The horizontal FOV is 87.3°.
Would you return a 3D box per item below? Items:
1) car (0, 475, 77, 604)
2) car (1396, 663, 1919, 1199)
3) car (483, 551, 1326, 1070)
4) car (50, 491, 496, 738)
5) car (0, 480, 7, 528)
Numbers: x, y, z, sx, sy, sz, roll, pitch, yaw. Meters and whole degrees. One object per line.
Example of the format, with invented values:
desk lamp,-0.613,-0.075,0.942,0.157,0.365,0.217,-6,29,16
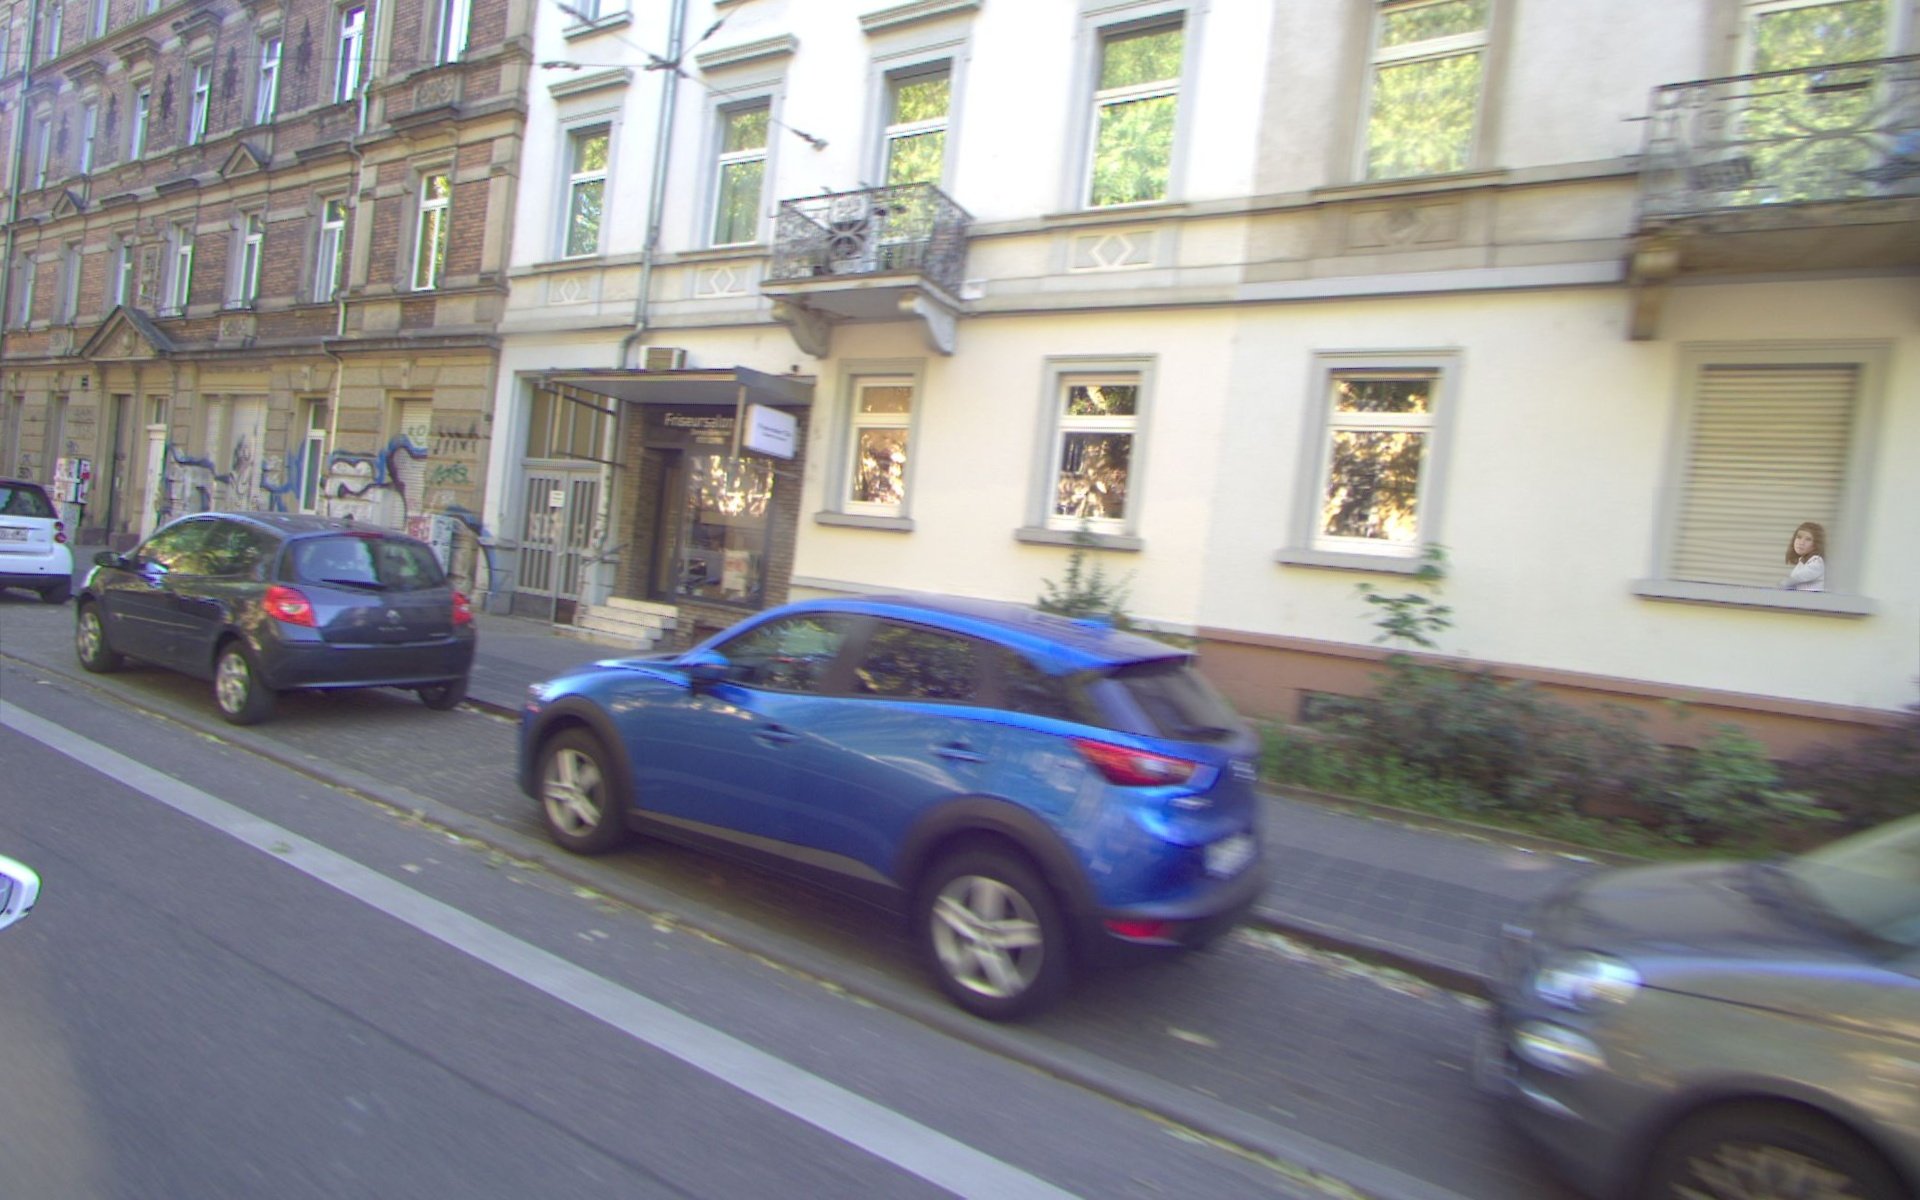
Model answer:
car,-12.915,-0.871,12.841,2.988,1.538,1.567,7,4,29
car,3.342,1.187,2.666,3.705,1.476,1.798,7,4,31
car,-0.426,0.675,5.237,3.960,1.476,1.879,7,4,33
car,-5.824,0.004,8.438,3.701,1.504,1.710,7,4,31
car,-38.630,-3.942,37.275,1.845,1.820,4.384,7,0,30
